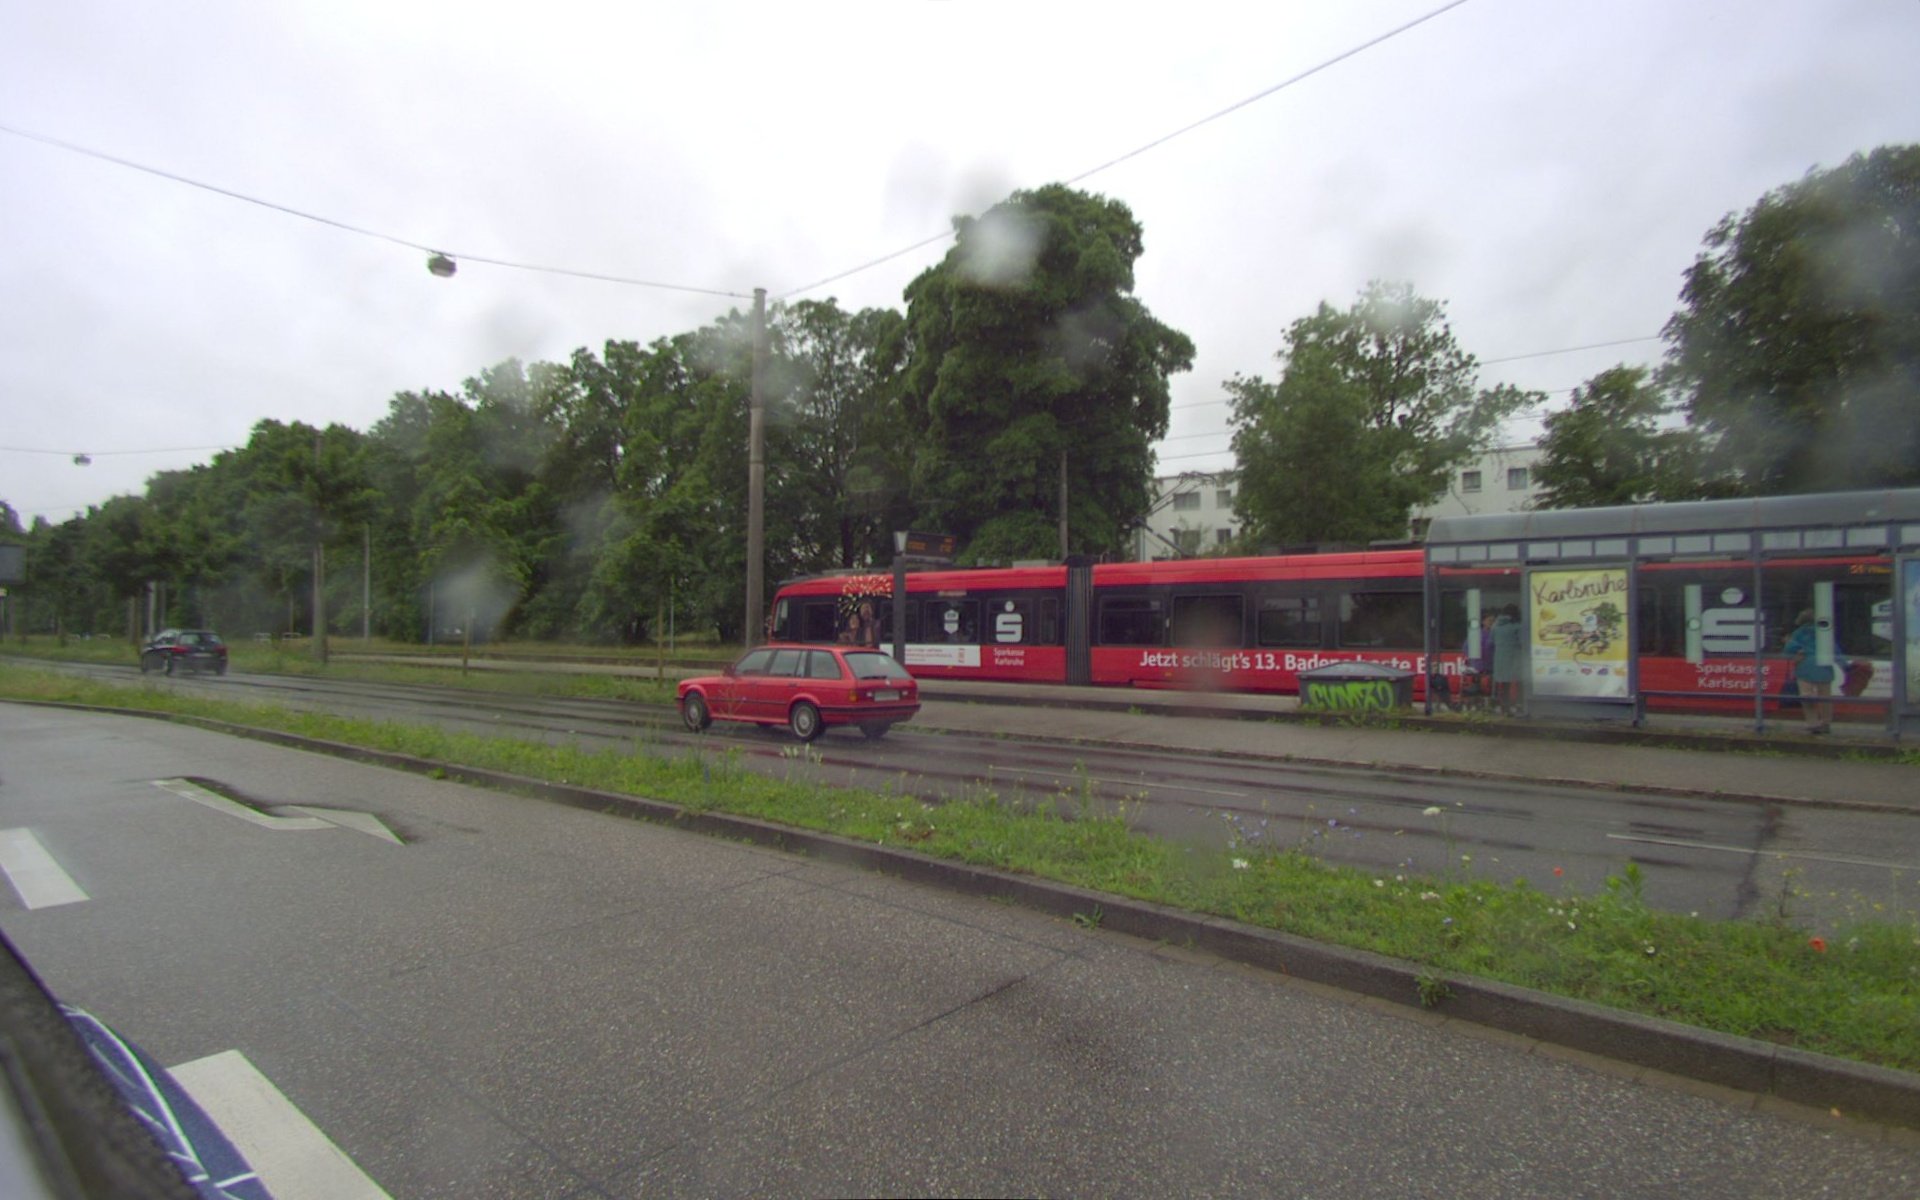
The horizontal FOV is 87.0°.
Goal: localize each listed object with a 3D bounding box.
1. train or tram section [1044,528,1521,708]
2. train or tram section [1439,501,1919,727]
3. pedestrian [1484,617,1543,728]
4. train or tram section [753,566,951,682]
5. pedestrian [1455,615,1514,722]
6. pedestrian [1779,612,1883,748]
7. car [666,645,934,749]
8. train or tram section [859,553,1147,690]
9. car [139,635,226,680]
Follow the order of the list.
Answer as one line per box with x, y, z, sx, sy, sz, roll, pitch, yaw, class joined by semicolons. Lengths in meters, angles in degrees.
7.160;0.496;23.998;10.254;3.427;3.496;-2;-3;41;train or tram section
14.008;0.308;18.064;9.272;3.416;3.496;-2;-3;41;train or tram section
8.098;1.034;14.804;0.437;1.574;0.603;-1;0;-36;pedestrian
-3.608;0.811;33.338;5.766;3.444;3.496;-2;-3;41;train or tram section
7.978;1.023;15.404;0.514;1.574;0.603;-1;0;-36;pedestrian
10.853;0.962;12.613;0.929;1.609;0.795;-2;-2;43;pedestrian
-2.557;1.393;15.624;4.246;1.371;1.664;-2;-3;39;car
1.057;0.661;29.296;7.898;3.438;3.496;-2;-3;41;train or tram section
-27.403;1.984;35.641;3.818;1.448;1.718;-1;-1;41;car
